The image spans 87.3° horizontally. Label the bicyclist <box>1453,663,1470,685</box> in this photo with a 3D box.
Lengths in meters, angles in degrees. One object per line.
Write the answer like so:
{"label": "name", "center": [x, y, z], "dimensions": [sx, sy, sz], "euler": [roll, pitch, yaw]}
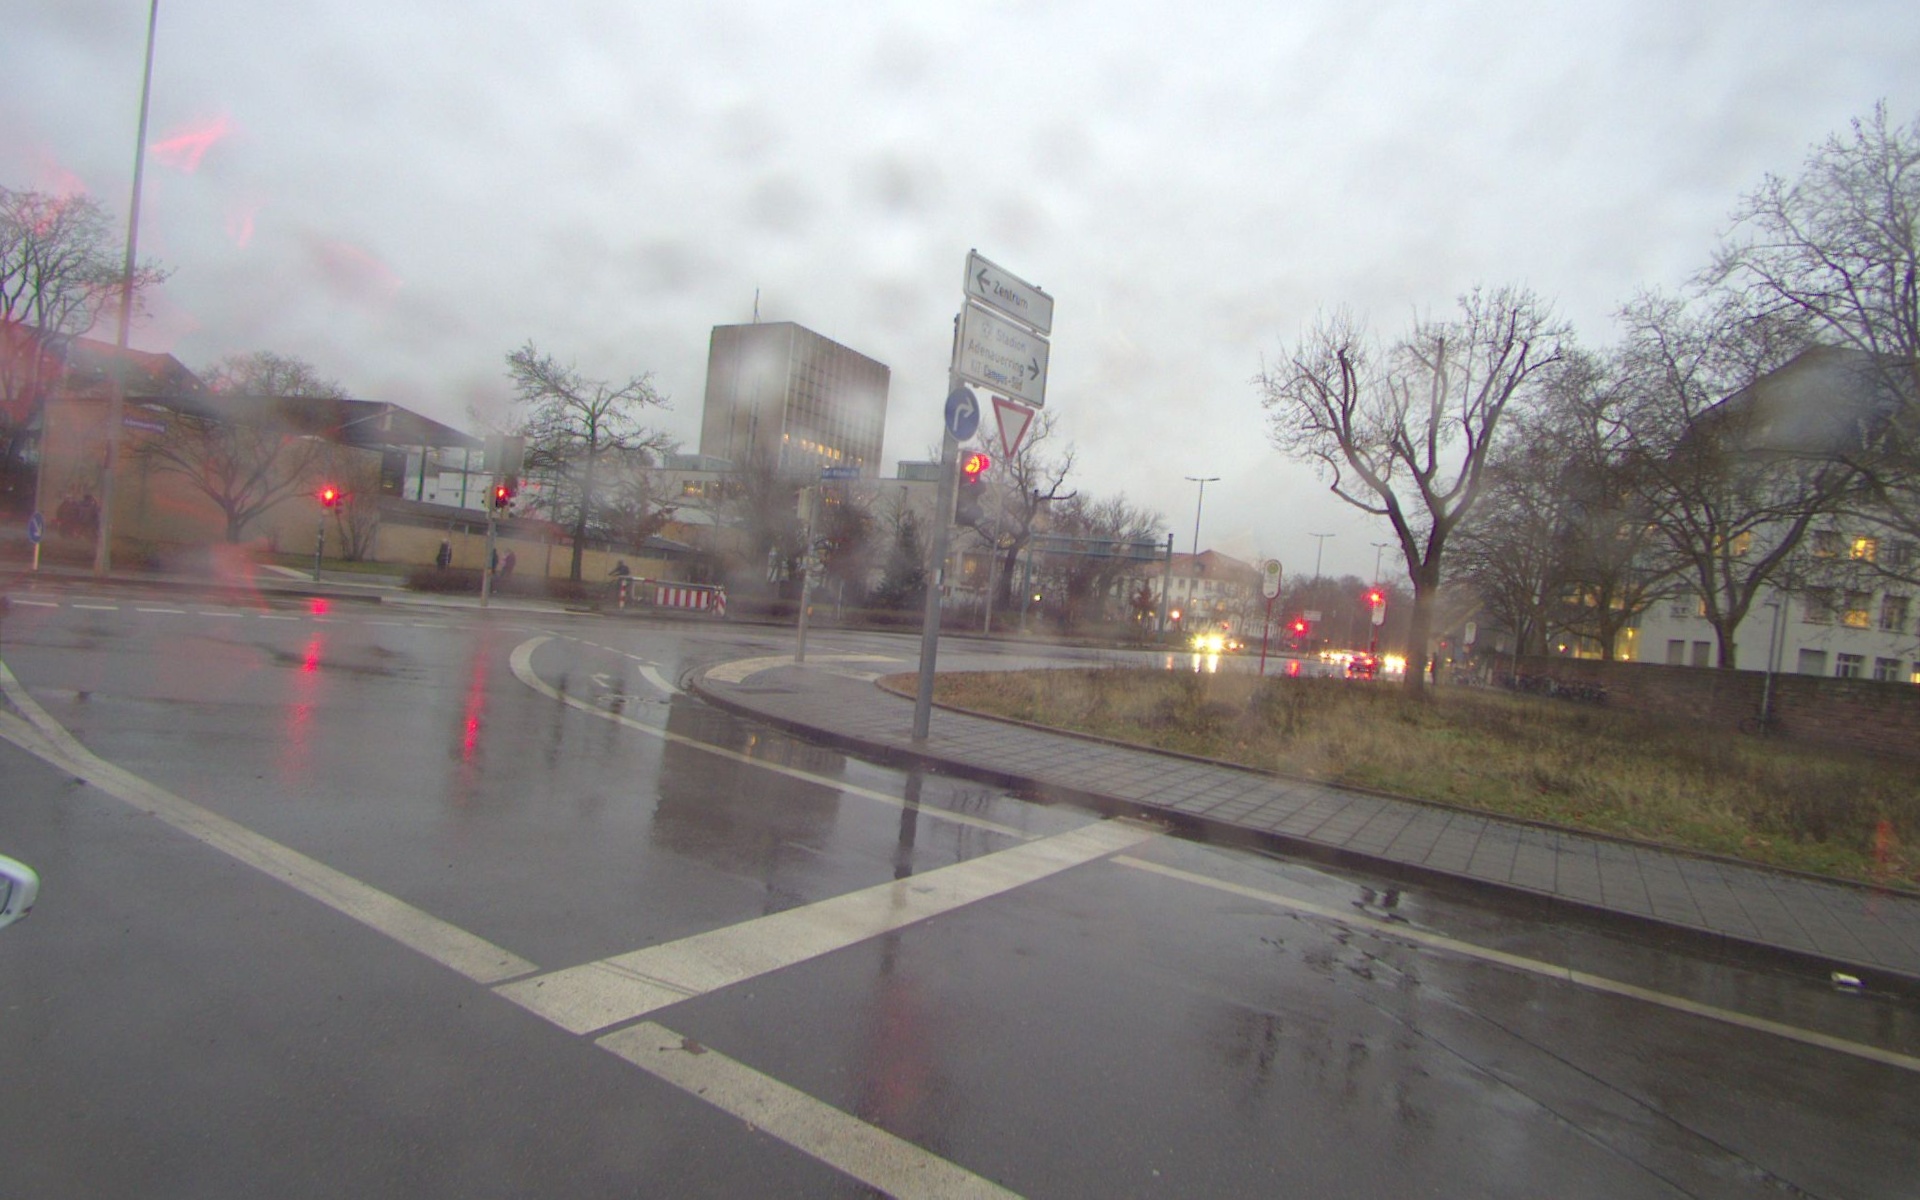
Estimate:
{"label": "bicyclist", "center": [27.197, 4.024, 54.519], "dimensions": [0.690, 1.092, 0.494], "euler": [5, -1, 32]}

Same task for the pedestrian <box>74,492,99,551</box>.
{"label": "pedestrian", "center": [-28.447, -2.557, 32.779], "dimensions": [0.456, 1.860, 0.434], "euler": [7, -1, -41]}

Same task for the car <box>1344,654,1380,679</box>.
{"label": "car", "center": [32.561, 5.389, 81.437], "dimensions": [1.861, 1.670, 3.635], "euler": [5, -3, 35]}

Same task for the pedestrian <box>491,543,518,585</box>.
{"label": "pedestrian", "center": [-19.976, -1.575, 44.119], "dimensions": [0.749, 1.745, 0.623], "euler": [5, -1, 38]}

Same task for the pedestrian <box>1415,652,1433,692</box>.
{"label": "pedestrian", "center": [22.342, 3.454, 48.474], "dimensions": [0.633, 1.857, 0.836], "euler": [5, -1, 23]}

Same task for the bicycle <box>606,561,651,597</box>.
{"label": "bicycle", "center": [-15.830, -0.993, 48.079], "dimensions": [0.584, 1.439, 1.922], "euler": [5, -2, 40]}

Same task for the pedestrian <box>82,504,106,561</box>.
{"label": "pedestrian", "center": [-28.886, -2.244, 33.552], "dimensions": [0.435, 1.860, 0.455], "euler": [6, -1, -40]}

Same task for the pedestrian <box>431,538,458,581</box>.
{"label": "pedestrian", "center": [-21.885, -1.732, 42.739], "dimensions": [0.749, 1.745, 0.623], "euler": [5, -1, 38]}

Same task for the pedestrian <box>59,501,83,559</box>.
{"label": "pedestrian", "center": [-29.338, -2.303, 33.198], "dimensions": [0.436, 1.860, 0.455], "euler": [7, -1, -40]}

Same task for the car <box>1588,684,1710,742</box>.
{"label": "car", "center": [15.578, 2.561, 22.724], "dimensions": [2.656, 0.989, 1.290], "euler": [7, 1, -34]}

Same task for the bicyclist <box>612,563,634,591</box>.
{"label": "bicyclist", "center": [-16.016, -1.099, 47.820], "dimensions": [0.599, 1.261, 0.697], "euler": [5, -2, 40]}

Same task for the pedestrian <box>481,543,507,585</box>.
{"label": "pedestrian", "center": [-20.783, -1.603, 44.826], "dimensions": [0.749, 1.745, 0.623], "euler": [5, -1, 38]}

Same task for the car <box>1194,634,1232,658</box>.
{"label": "car", "center": [21.994, 4.036, 87.346], "dimensions": [1.720, 1.670, 4.237], "euler": [5, -3, 35]}

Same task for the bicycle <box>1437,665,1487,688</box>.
{"label": "bicycle", "center": [27.529, 4.184, 55.162], "dimensions": [2.373, 1.003, 0.537], "euler": [5, -2, 31]}

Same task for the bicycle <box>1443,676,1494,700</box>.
{"label": "bicycle", "center": [27.480, 4.747, 54.414], "dimensions": [2.373, 1.003, 0.479], "euler": [5, -2, 31]}
